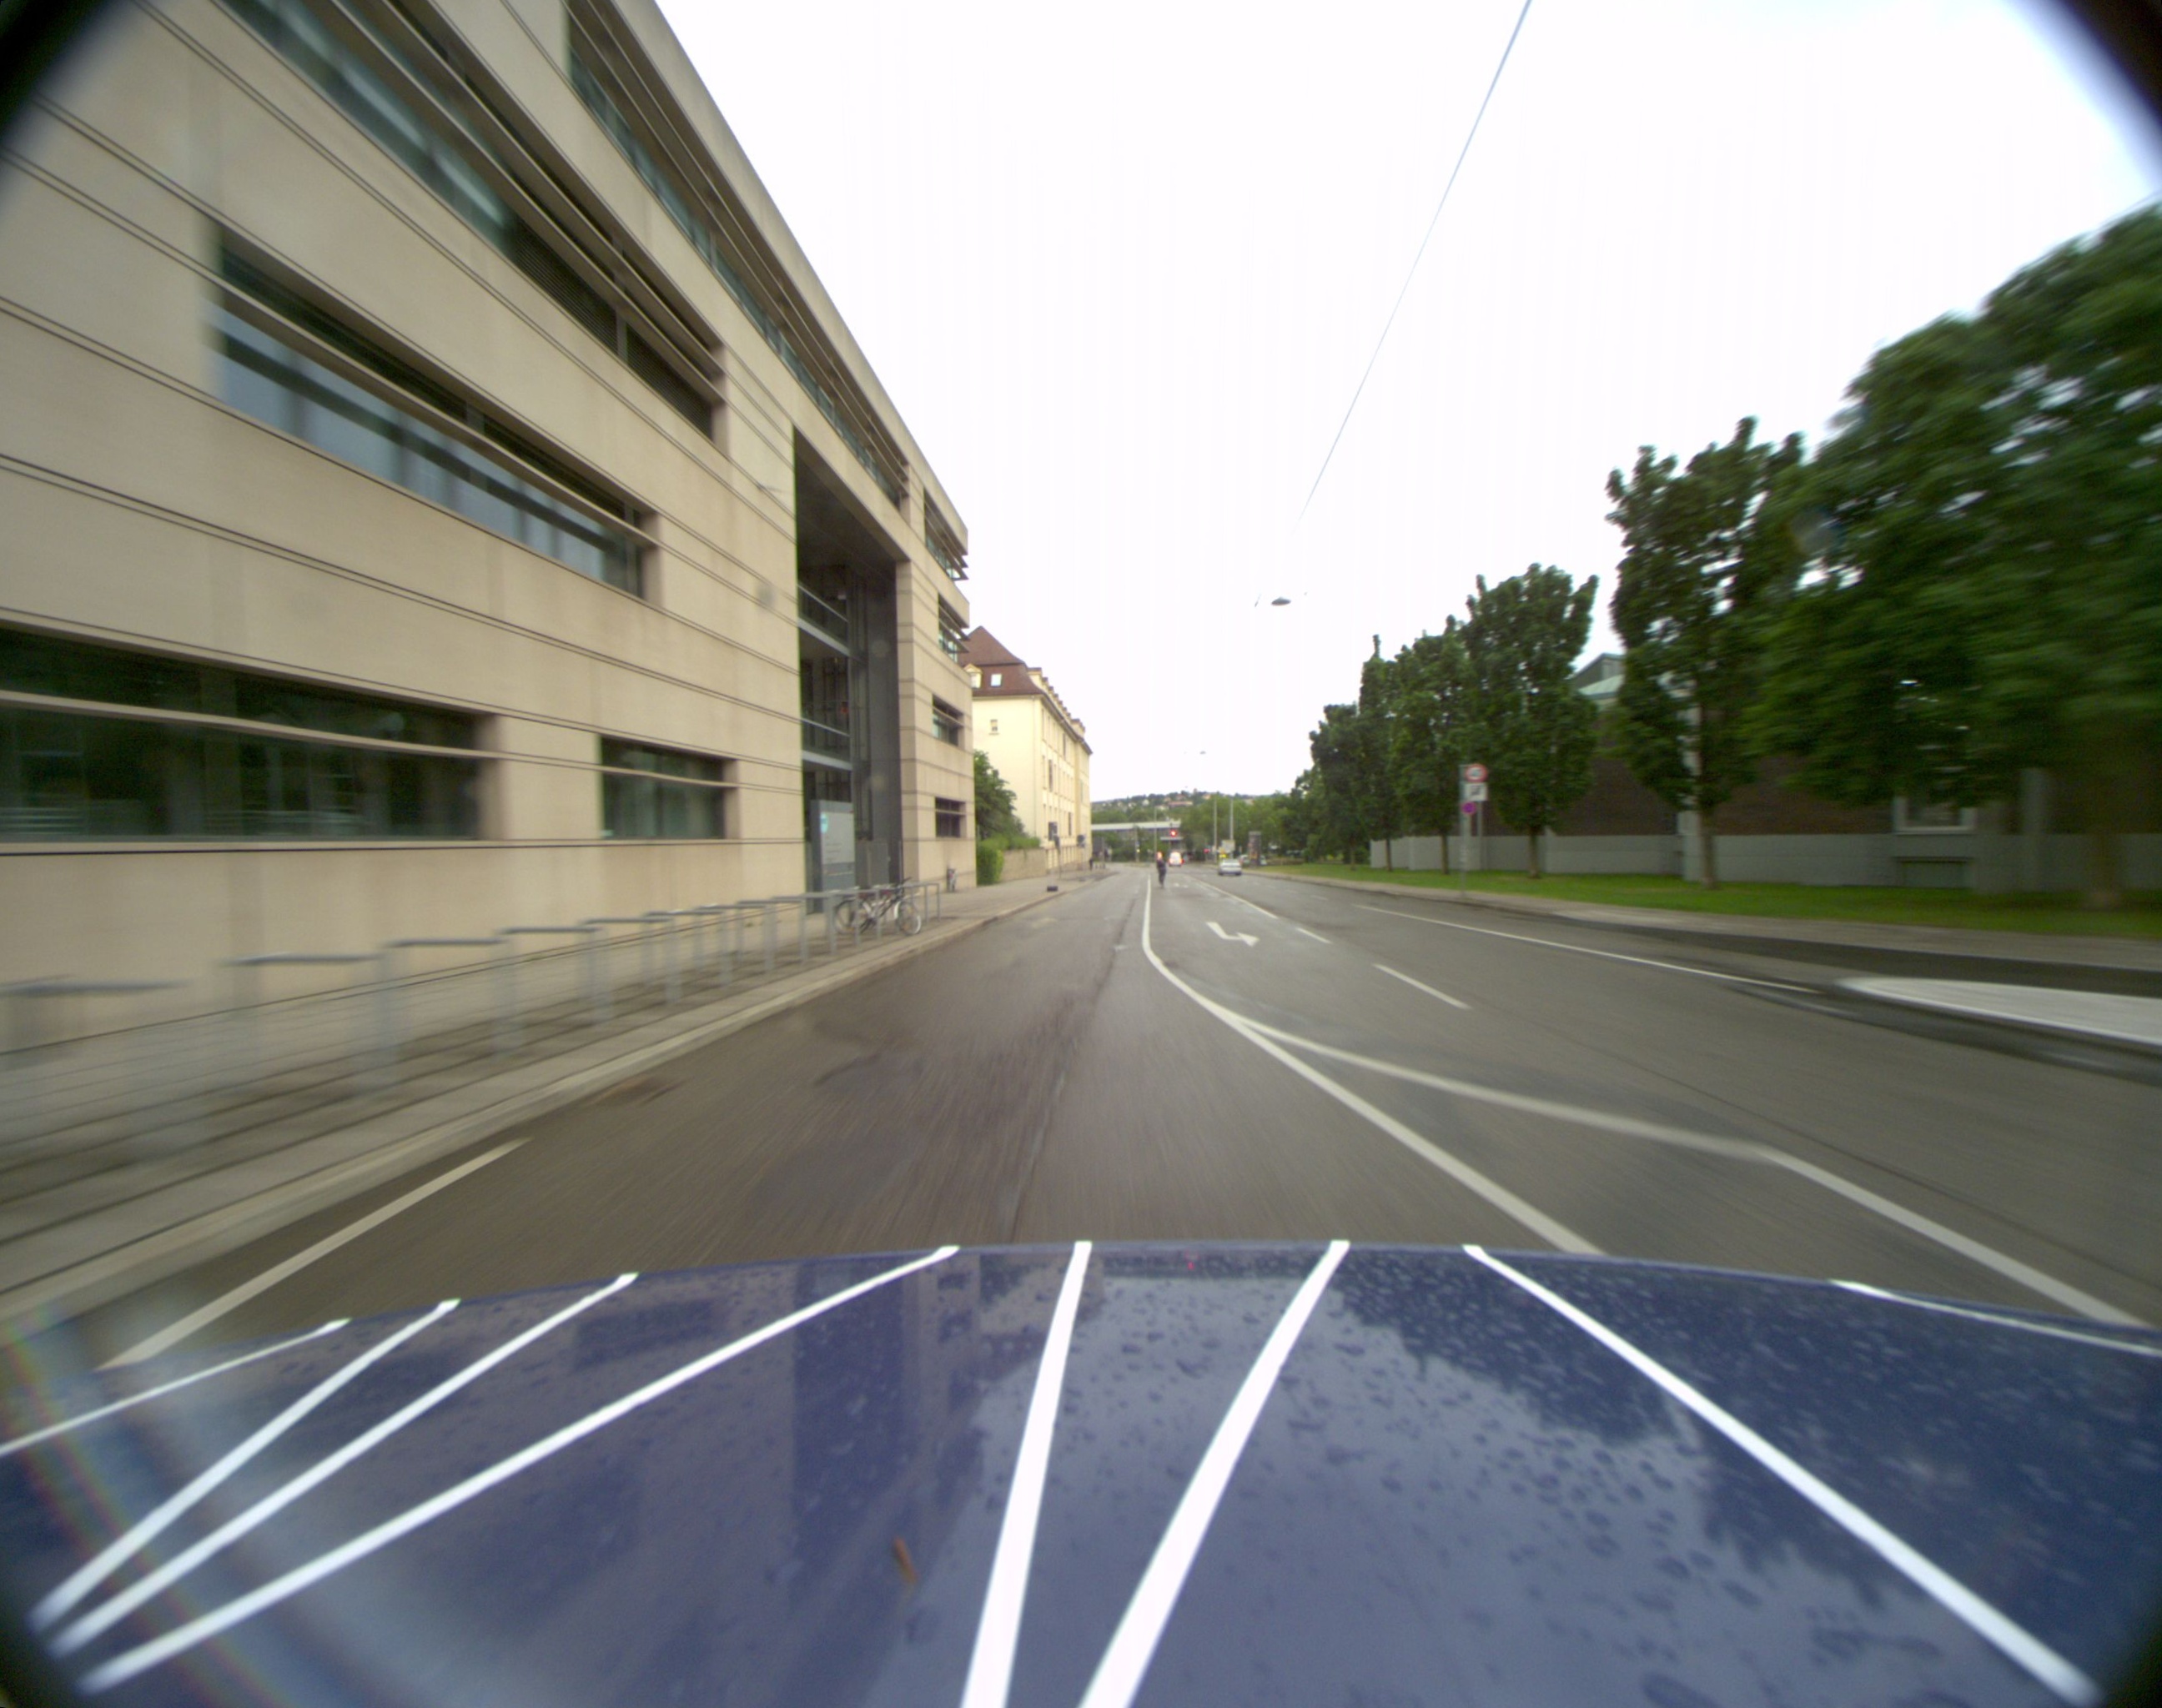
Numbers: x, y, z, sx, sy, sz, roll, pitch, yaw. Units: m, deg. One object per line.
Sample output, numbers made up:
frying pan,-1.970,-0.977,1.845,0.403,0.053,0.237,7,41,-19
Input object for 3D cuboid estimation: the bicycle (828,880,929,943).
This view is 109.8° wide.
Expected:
bicycle,-3.875,1.092,14.604,1.733,1.112,0.659,-1,1,0

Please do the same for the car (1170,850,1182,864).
car,18.098,0.570,144.953,1.987,2.514,5.633,0,0,3

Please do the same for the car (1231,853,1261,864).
car,28.274,0.739,130.459,2.020,1.745,4.711,-3,1,-43

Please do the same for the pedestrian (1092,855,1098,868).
pedestrian,1.804,0.983,99.955,0.671,1.787,0.852,0,1,7

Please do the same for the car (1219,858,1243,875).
car,13.960,1.133,70.920,1.885,1.482,5.223,1,0,8

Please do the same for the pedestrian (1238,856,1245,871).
pedestrian,19.042,1.125,90.102,0.671,1.677,0.914,-2,1,12

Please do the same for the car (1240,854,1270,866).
car,26.057,0.919,113.746,1.871,1.600,4.516,-3,0,-28

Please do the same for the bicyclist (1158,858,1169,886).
bicyclist,4.442,0.969,40.884,0.485,1.425,0.930,-2,1,7

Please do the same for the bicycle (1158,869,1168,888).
bicycle,4.428,1.297,41.000,0.448,0.957,1.691,-2,-1,8

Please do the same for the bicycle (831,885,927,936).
bicycle,-4.136,1.151,15.614,1.763,0.947,0.660,-1,1,2
